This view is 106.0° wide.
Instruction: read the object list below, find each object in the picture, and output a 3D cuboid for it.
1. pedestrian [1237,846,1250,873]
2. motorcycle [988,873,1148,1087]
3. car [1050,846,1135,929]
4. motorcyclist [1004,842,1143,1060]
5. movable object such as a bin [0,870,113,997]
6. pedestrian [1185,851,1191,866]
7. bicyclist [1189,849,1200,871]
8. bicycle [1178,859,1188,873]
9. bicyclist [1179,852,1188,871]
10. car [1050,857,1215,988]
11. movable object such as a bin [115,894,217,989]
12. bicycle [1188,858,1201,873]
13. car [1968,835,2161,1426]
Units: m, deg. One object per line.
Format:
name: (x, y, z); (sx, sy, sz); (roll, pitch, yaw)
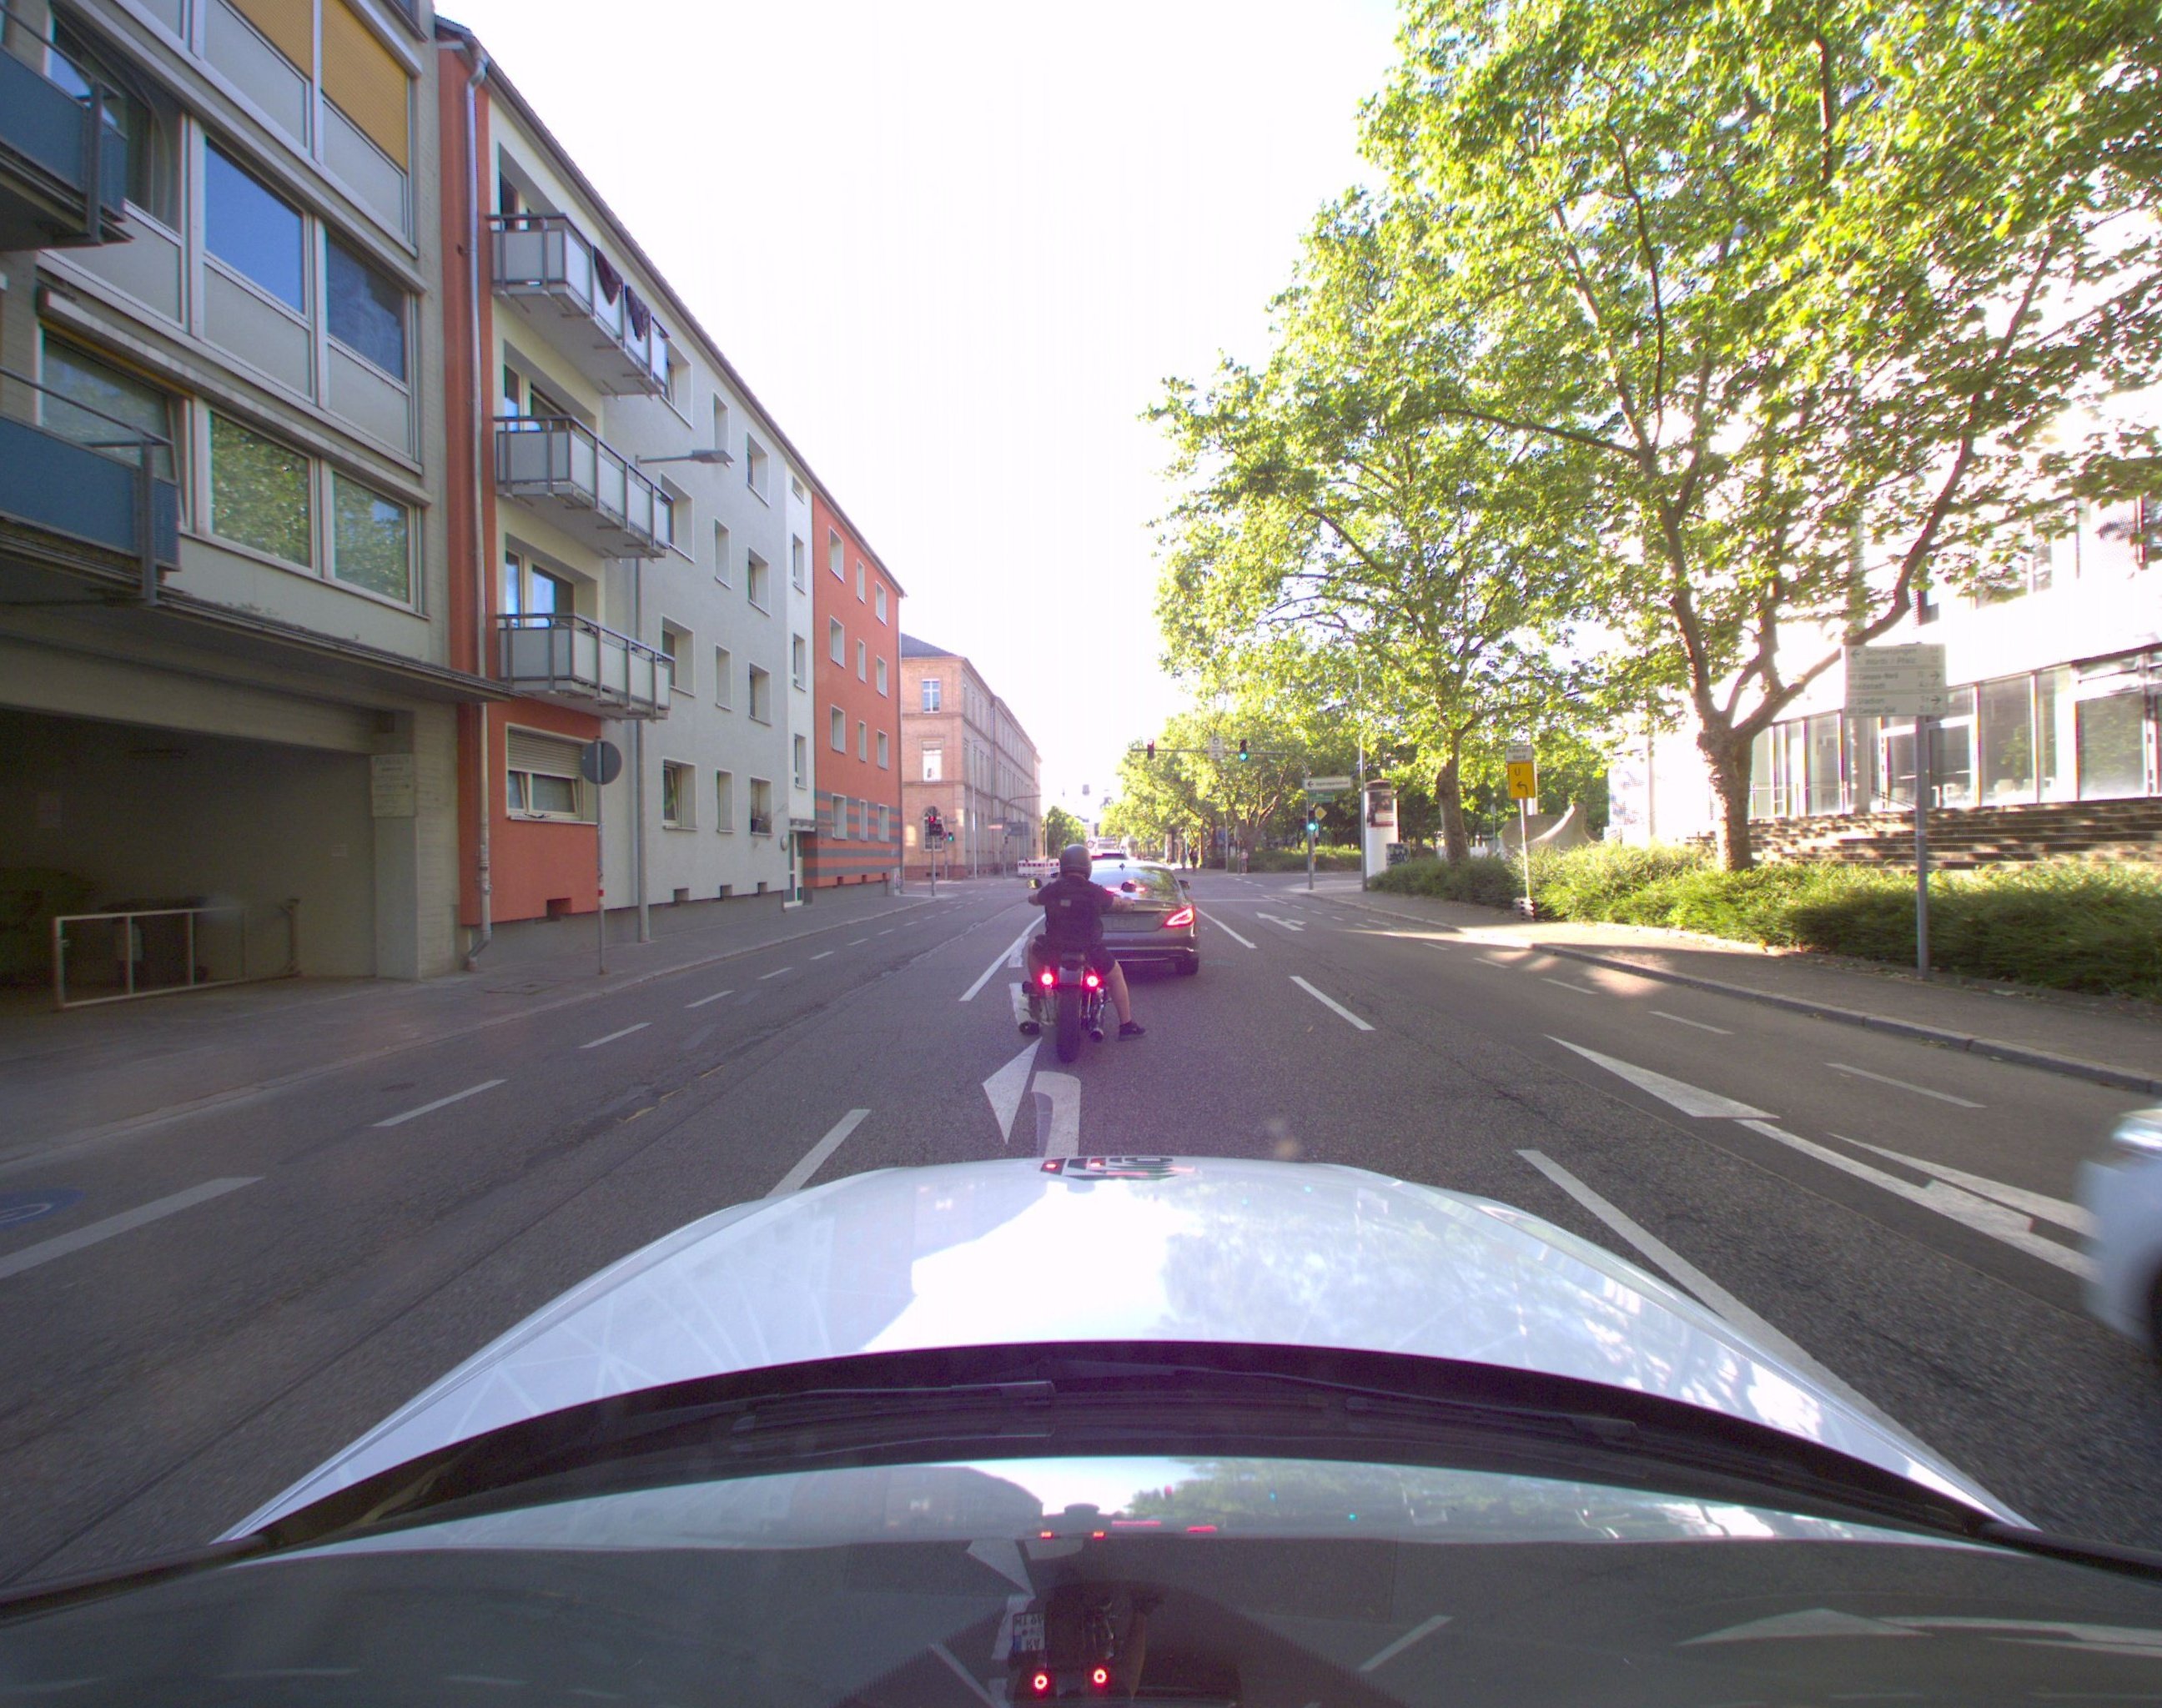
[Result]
pedestrian: (10.864, 0.369, 54.381); (0.574, 1.774, 0.619); (1, -1, -33)
motorcycle: (-0.044, 0.850, 6.632); (1.008, 1.306, 2.673); (-1, 0, 2)
car: (0.158, 0.679, 18.214); (1.626, 1.650, 3.845); (0, 0, -3)
motorcyclist: (-0.034, 0.722, 6.786); (1.008, 1.602, 1.406); (-1, 0, 1)
movable object such as a bin: (-12.889, 0.924, 9.733); (1.313, 1.414, 1.080); (-1, 0, 1)
pedestrian: (11.438, 0.463, 87.121); (0.590, 1.578, 0.527); (0, -1, 2)
bicyclist: (7.988, 0.432, 57.226); (0.653, 1.530, 0.852); (0, -1, 1)
bicycle: (8.362, 0.978, 66.789); (0.653, 1.111, 2.186); (0, 0, 2)
bicyclist: (8.370, 0.595, 66.761); (0.653, 1.530, 0.906); (0, -1, 1)
car: (0.630, 0.766, 10.948); (1.821, 1.420, 3.816); (-1, 0, 2)
movable object such as a bin: (-11.156, 1.051, 9.948); (0.487, 1.088, 0.654); (-1, 0, 2)
bicycle: (7.979, 0.808, 57.271); (0.653, 1.070, 1.927); (0, 0, 2)
car: (3.490, 0.698, 0.663); (1.671, 1.498, 3.689); (0, 0, 4)
